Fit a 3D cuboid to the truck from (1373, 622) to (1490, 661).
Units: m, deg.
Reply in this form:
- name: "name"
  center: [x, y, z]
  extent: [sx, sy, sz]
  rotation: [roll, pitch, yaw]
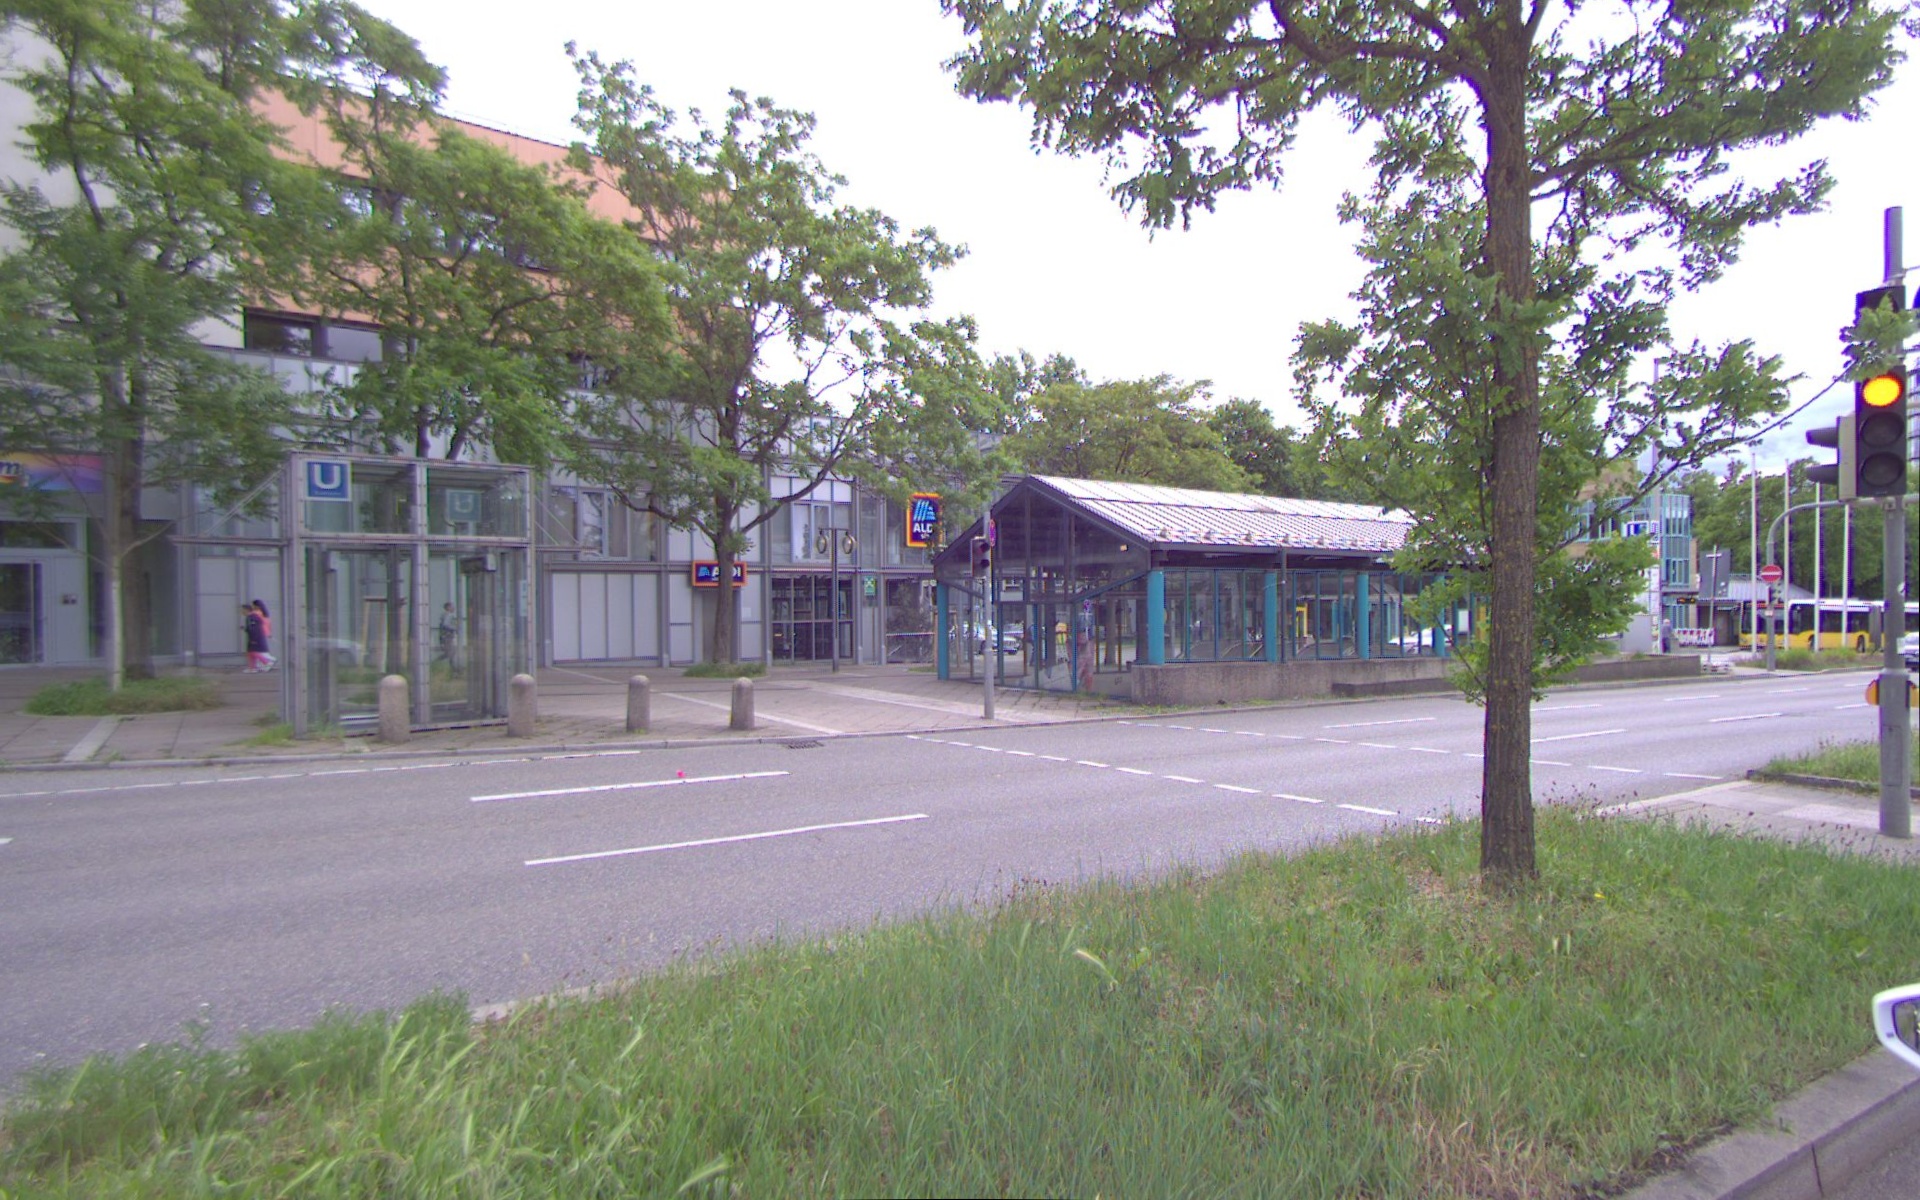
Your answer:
- name: "truck"
  center: [19.454, 1.704, 41.511]
  extent: [3.927, 1.537, 1.997]
  rotation: [1, -1, -9]

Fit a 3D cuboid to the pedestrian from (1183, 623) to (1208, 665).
- name: "pedestrian"
  center: [9.149, 1.696, 39.025]
  extent: [0.651, 1.591, 0.633]
  rotation: [2, 0, -20]

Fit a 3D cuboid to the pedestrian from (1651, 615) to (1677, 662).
- name: "pedestrian"
  center: [28.605, 1.560, 40.830]
  extent: [0.677, 1.922, 0.658]
  rotation: [1, -1, -30]

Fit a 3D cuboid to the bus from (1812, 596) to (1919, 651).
- name: "bus"
  center: [57.922, 1.537, 63.775]
  extent: [7.771, 3.313, 2.980]
  rotation: [1, -1, -26]

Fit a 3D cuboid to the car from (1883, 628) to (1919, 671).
- name: "car"
  center: [37.551, 1.909, 39.173]
  extent: [3.316, 1.599, 1.673]
  rotation: [1, -1, -36]

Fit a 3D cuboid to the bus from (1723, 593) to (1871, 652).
- name: "bus"
  center: [49.925, 1.376, 59.834]
  extent: [10.036, 3.293, 2.980]
  rotation: [1, -1, -26]

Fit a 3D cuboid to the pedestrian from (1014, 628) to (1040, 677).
- name: "pedestrian"
  center: [2.295, 1.788, 34.404]
  extent: [0.703, 1.677, 0.517]
  rotation: [1, -1, -37]

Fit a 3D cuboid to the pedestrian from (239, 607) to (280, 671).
- name: "pedestrian"
  center: [-15.481, 0.852, 22.199]
  extent: [0.689, 1.393, 0.578]
  rotation: [1, -1, -37]

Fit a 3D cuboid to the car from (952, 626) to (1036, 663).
- name: "car"
  center: [1.653, 2.190, 50.383]
  extent: [1.769, 1.710, 4.838]
  rotation: [1, -1, -33]

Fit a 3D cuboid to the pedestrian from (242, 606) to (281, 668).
- name: "pedestrian"
  center: [-15.896, 0.843, 22.860]
  extent: [0.689, 1.393, 0.578]
  rotation: [1, -1, -37]

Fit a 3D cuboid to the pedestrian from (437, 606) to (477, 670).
- name: "pedestrian"
  center: [-11.873, 0.889, 23.708]
  extent: [0.748, 1.499, 0.525]
  rotation: [1, -1, -36]

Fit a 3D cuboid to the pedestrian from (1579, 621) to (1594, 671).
- name: "pedestrian"
  center: [20.599, 1.509, 33.038]
  extent: [0.412, 1.612, 0.356]
  rotation: [0, -1, 31]

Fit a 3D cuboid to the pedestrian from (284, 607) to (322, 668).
- name: "pedestrian"
  center: [-15.199, 0.866, 23.226]
  extent: [0.689, 1.393, 0.578]
  rotation: [1, -1, -37]

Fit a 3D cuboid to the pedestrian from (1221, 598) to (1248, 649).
- name: "pedestrian"
  center: [9.344, 0.796, 34.209]
  extent: [0.650, 1.689, 0.635]
  rotation: [2, 0, -11]
